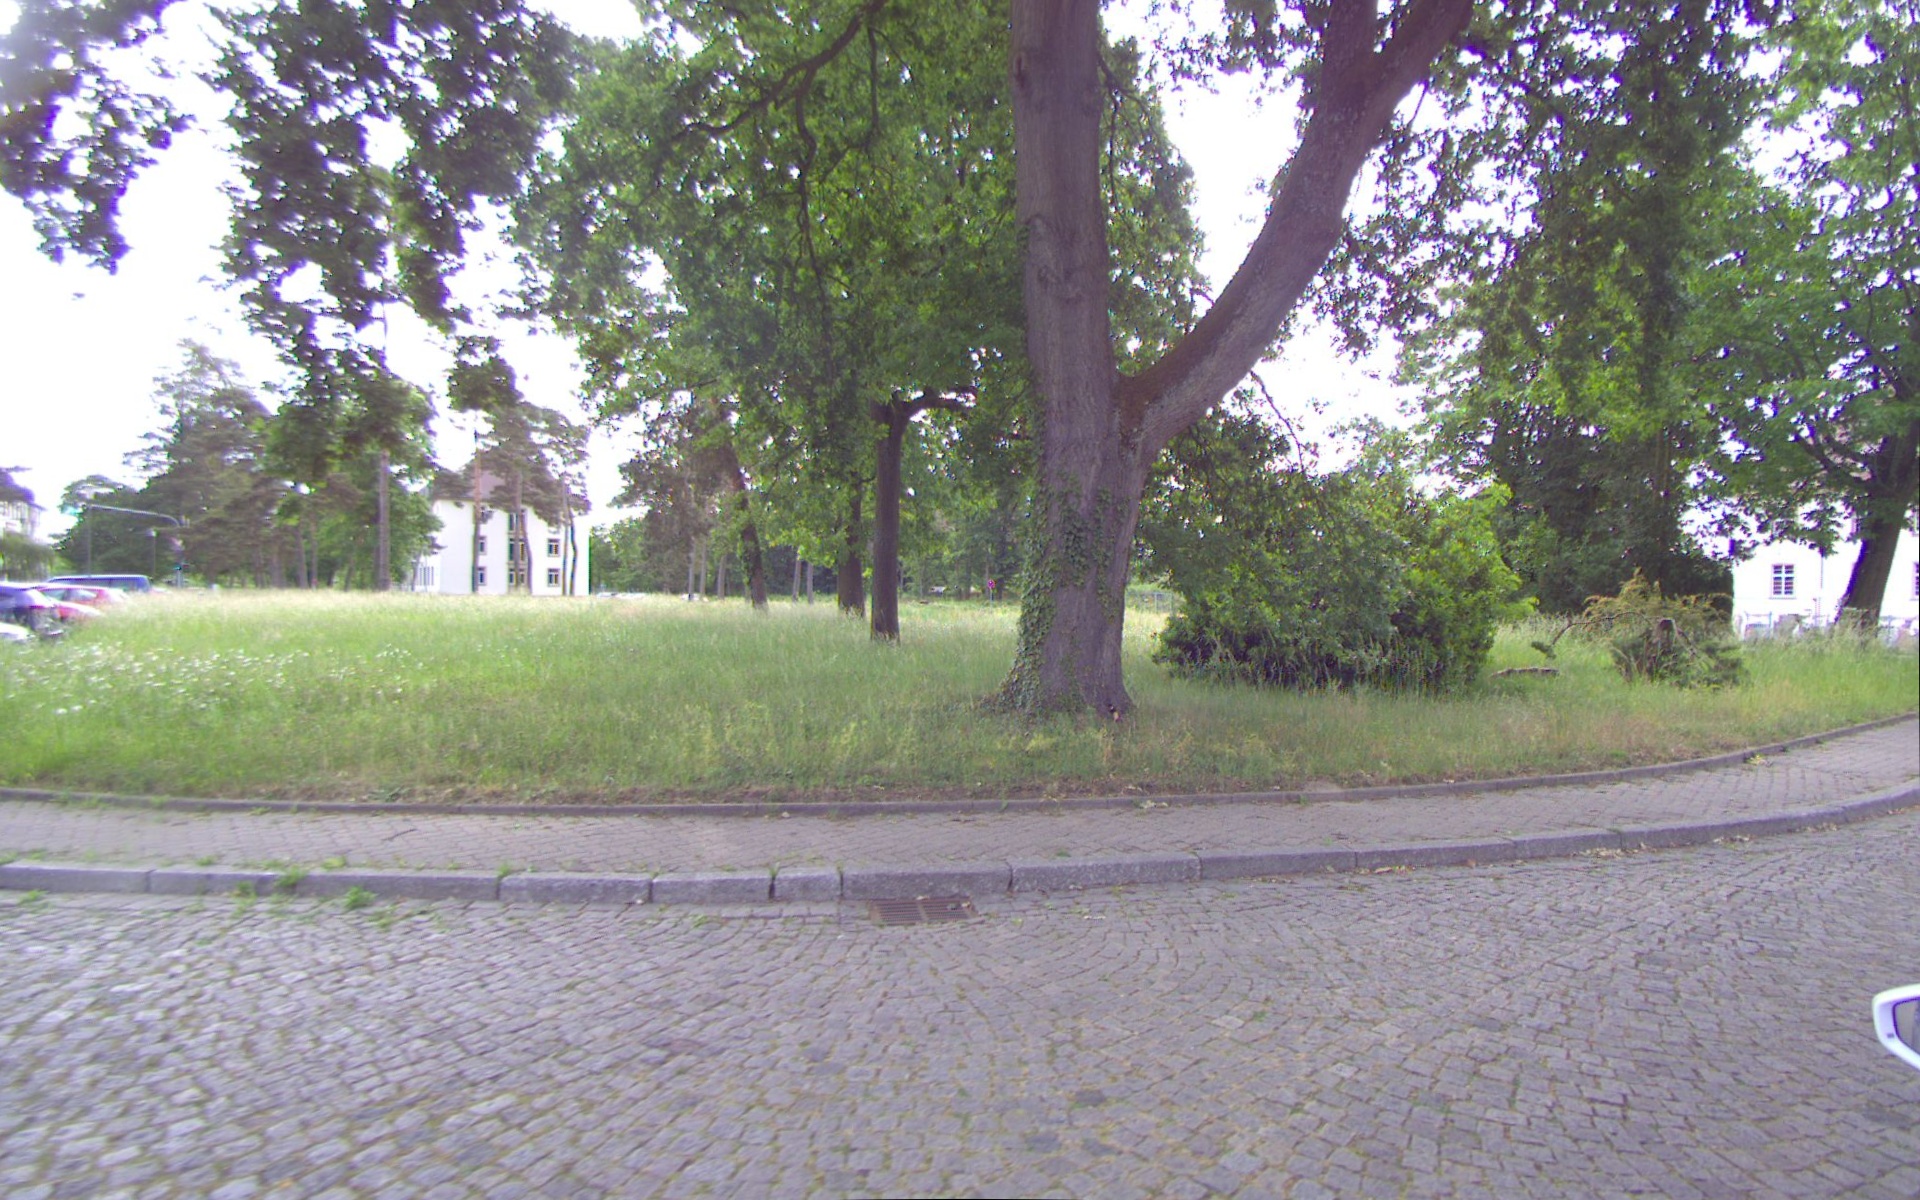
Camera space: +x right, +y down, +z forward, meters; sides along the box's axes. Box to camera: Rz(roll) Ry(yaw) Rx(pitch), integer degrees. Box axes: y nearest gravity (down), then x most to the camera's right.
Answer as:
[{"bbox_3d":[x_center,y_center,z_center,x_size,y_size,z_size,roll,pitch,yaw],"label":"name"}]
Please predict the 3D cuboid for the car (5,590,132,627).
[{"bbox_3d":[-35.524,0.313,40.148,3.662,1.357,1.566,-2,2,-38],"label":"car"}]

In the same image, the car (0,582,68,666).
[{"bbox_3d":[-19.589,0.456,18.692,4.327,1.583,1.745,-1,1,-38],"label":"car"}]

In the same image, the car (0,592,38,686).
[{"bbox_3d":[-16.808,0.608,14.941,4.310,1.424,1.747,-1,1,-34],"label":"car"}]

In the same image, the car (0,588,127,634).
[{"bbox_3d":[-29.934,0.336,33.163,3.631,1.440,1.560,-2,2,-39],"label":"car"}]

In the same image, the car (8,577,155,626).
[{"bbox_3d":[-36.835,0.021,42.284,4.504,1.927,1.773,-2,2,-38],"label":"car"}]

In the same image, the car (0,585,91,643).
[{"bbox_3d":[-25.643,0.371,26.899,3.468,1.502,1.585,-2,2,-38],"label":"car"}]
